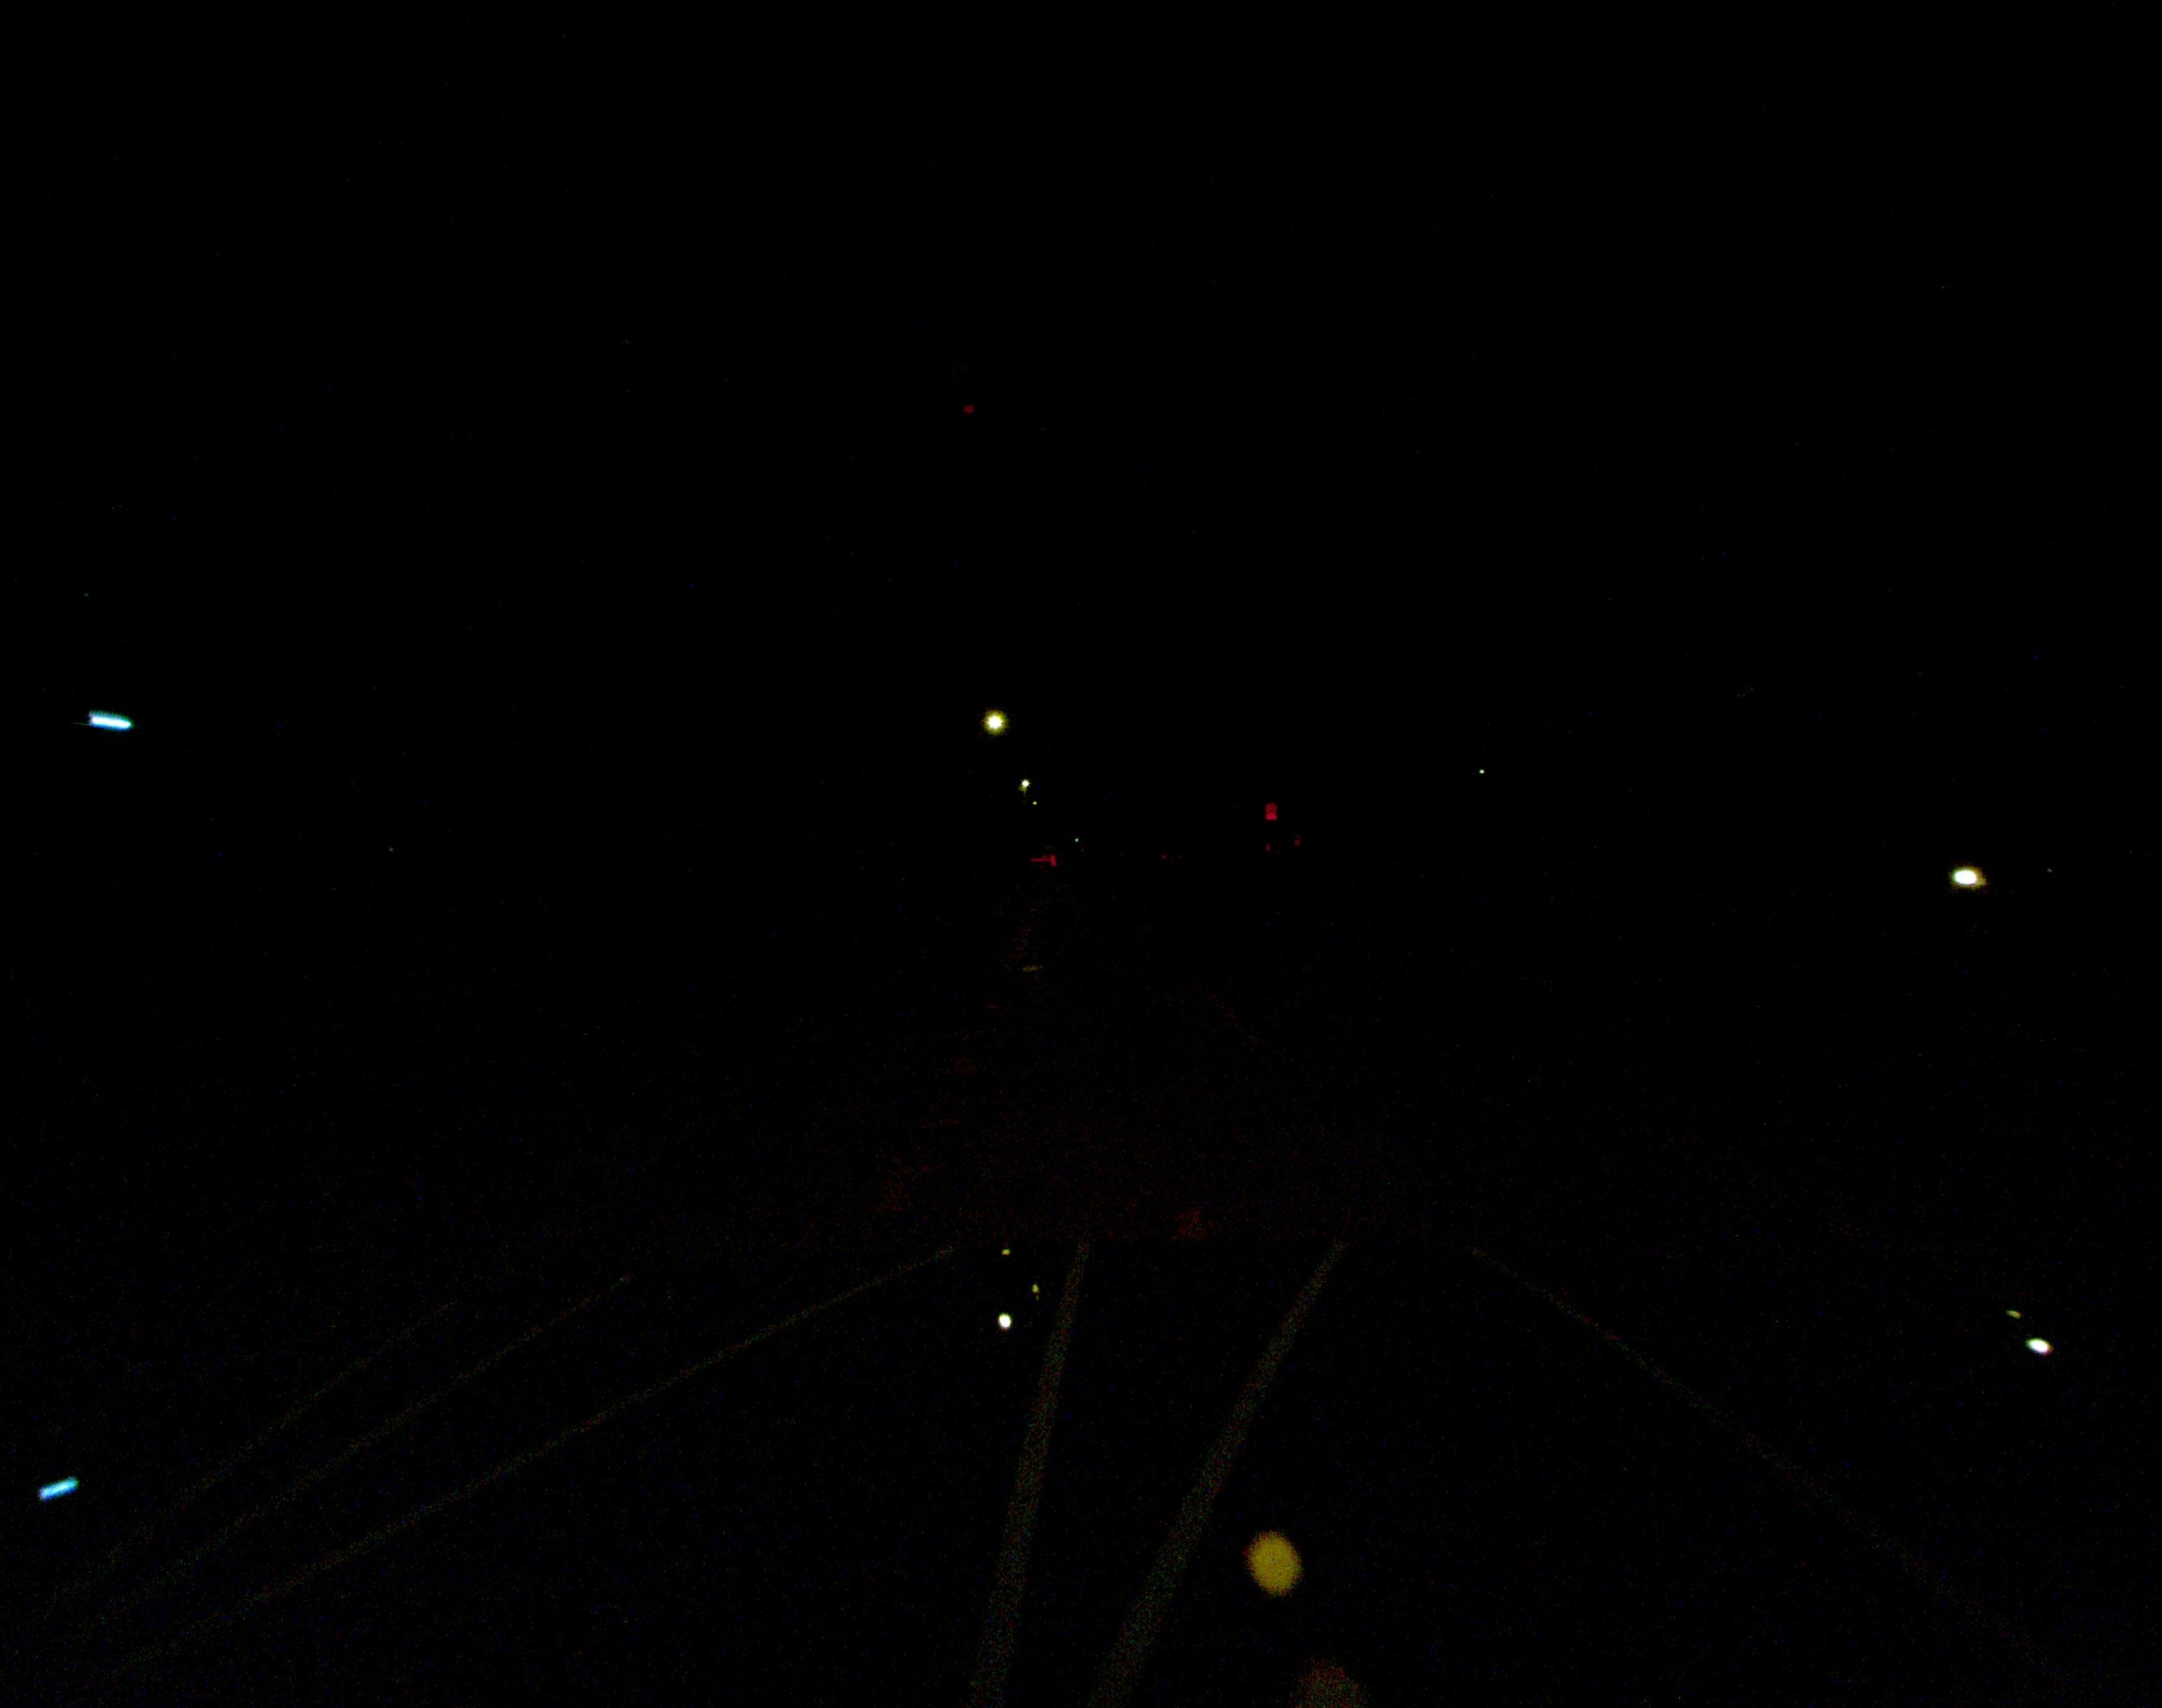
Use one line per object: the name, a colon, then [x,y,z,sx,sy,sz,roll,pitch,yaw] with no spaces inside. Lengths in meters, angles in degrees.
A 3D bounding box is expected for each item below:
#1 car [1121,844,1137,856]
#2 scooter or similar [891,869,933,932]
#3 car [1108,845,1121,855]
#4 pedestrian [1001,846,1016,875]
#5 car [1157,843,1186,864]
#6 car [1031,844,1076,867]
car: [6.341,-0.543,100.448,1.911,1.445,3.999,-3,2,1]
scooter or similar: [-3.616,0.967,16.325,0.570,1.271,1.391,0,0,0]
car: [5.222,-0.647,118.304,1.911,1.445,3.999,-3,2,1]
pedestrian: [-4.721,0.418,49.722,0.824,1.809,0.608,-3,2,1]
car: [7.235,-0.044,61.028,1.911,1.445,3.999,-3,2,1]
car: [-2.535,0.109,70.664,3.997,1.821,1.912,-3,2,0]
